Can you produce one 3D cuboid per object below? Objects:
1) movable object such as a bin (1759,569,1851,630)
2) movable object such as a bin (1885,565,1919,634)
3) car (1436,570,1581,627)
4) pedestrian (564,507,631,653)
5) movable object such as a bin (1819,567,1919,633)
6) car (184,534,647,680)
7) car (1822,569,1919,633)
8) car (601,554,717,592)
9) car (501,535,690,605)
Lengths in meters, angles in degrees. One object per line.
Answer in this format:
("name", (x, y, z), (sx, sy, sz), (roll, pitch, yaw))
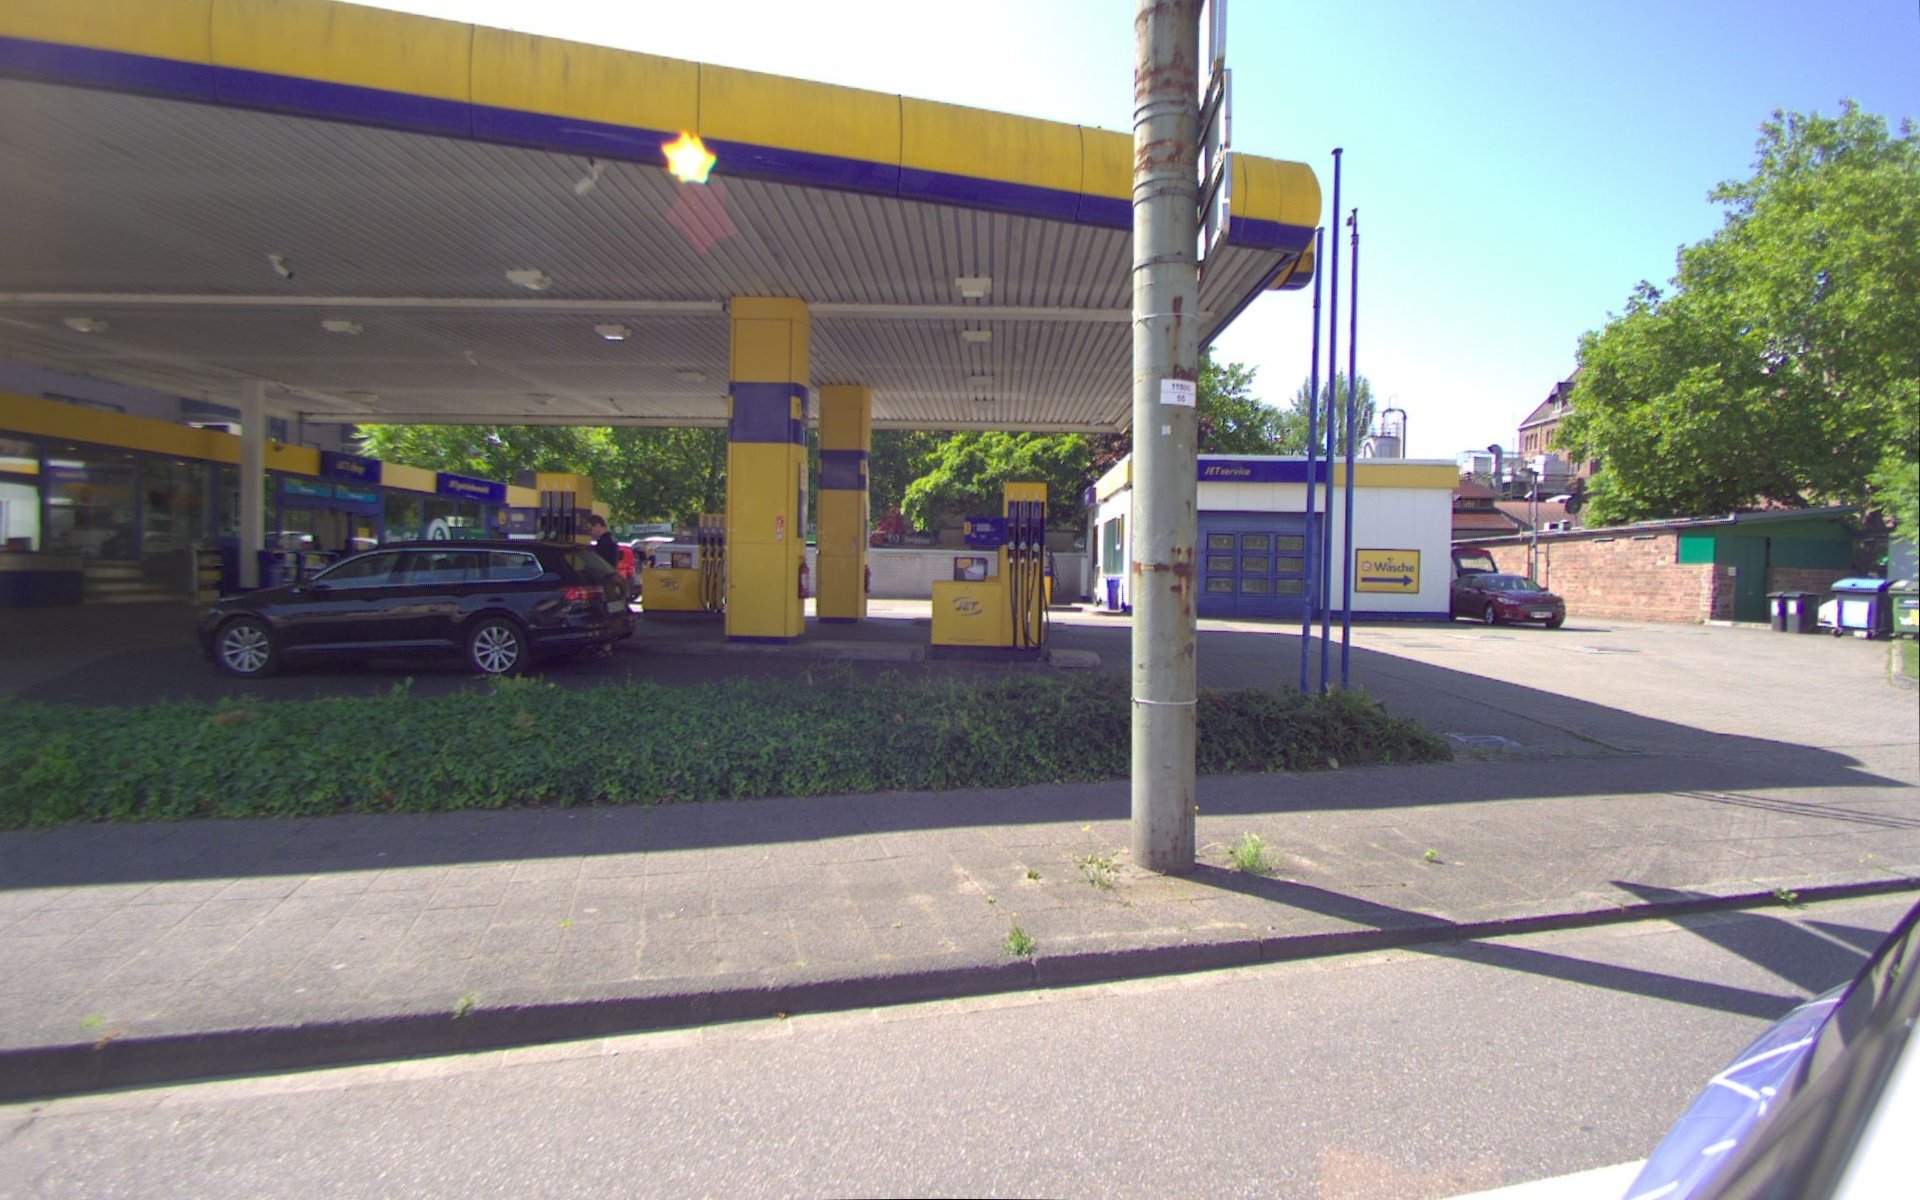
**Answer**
("movable object such as a bin", (21.911, -0.025, 26.287), (1.308, 1.521, 1.327), (1, 0, 7))
("movable object such as a bin", (21.872, 0.010, 22.485), (1.350, 1.521, 1.425), (1, 1, -19))
("car", (15.343, -0.111, 28.606), (1.859, 1.478, 4.553), (0, 2, 4))
("pedestrian", (-4.503, -0.251, 12.596), (0.729, 1.747, 0.861), (1, 2, -19))
("movable object such as a bin", (21.986, -0.011, 24.345), (1.352, 1.521, 1.424), (1, 1, -6))
("car", (-5.998, 0.009, 11.503), (4.328, 1.472, 1.762), (0, 5, 2))
("car", (25.022, 0.046, 25.987), (3.954, 1.576, 1.834), (2, 2, 22))
("car", (-11.800, -1.069, 39.818), (4.054, 1.377, 1.762), (1, 2, 1))
("car", (-11.208, -0.933, 31.341), (5.205, 2.007, 1.762), (1, 2, -1))
